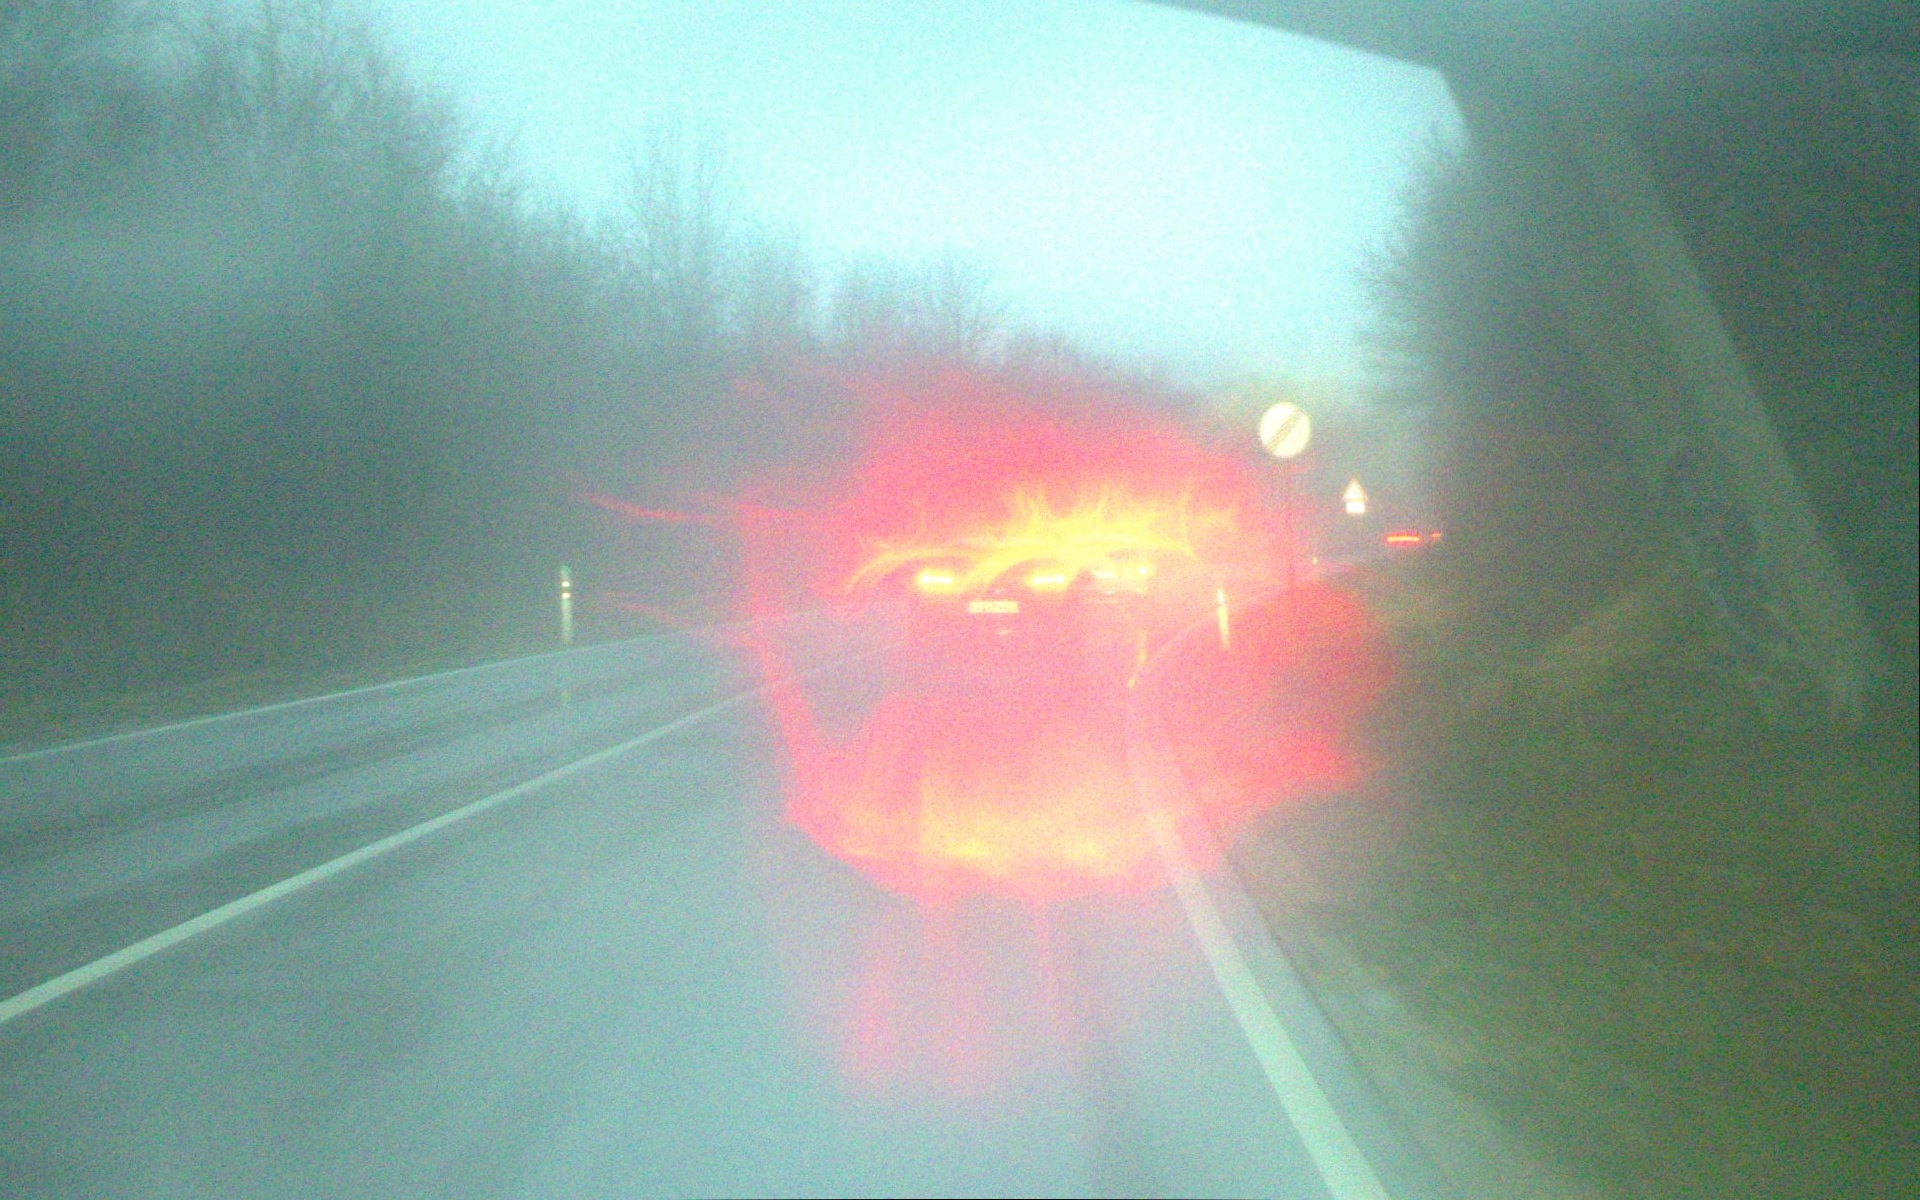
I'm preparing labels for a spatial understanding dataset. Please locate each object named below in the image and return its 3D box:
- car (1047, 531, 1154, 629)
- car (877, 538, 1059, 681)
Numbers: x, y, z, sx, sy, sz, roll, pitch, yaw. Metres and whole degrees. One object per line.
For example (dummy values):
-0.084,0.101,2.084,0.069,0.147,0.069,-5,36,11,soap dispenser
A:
2.527,-0.377,61.145,1.679,1.669,4.097,-1,1,5,car
0.132,0.057,35.813,1.679,1.385,4.098,-1,1,3,car
